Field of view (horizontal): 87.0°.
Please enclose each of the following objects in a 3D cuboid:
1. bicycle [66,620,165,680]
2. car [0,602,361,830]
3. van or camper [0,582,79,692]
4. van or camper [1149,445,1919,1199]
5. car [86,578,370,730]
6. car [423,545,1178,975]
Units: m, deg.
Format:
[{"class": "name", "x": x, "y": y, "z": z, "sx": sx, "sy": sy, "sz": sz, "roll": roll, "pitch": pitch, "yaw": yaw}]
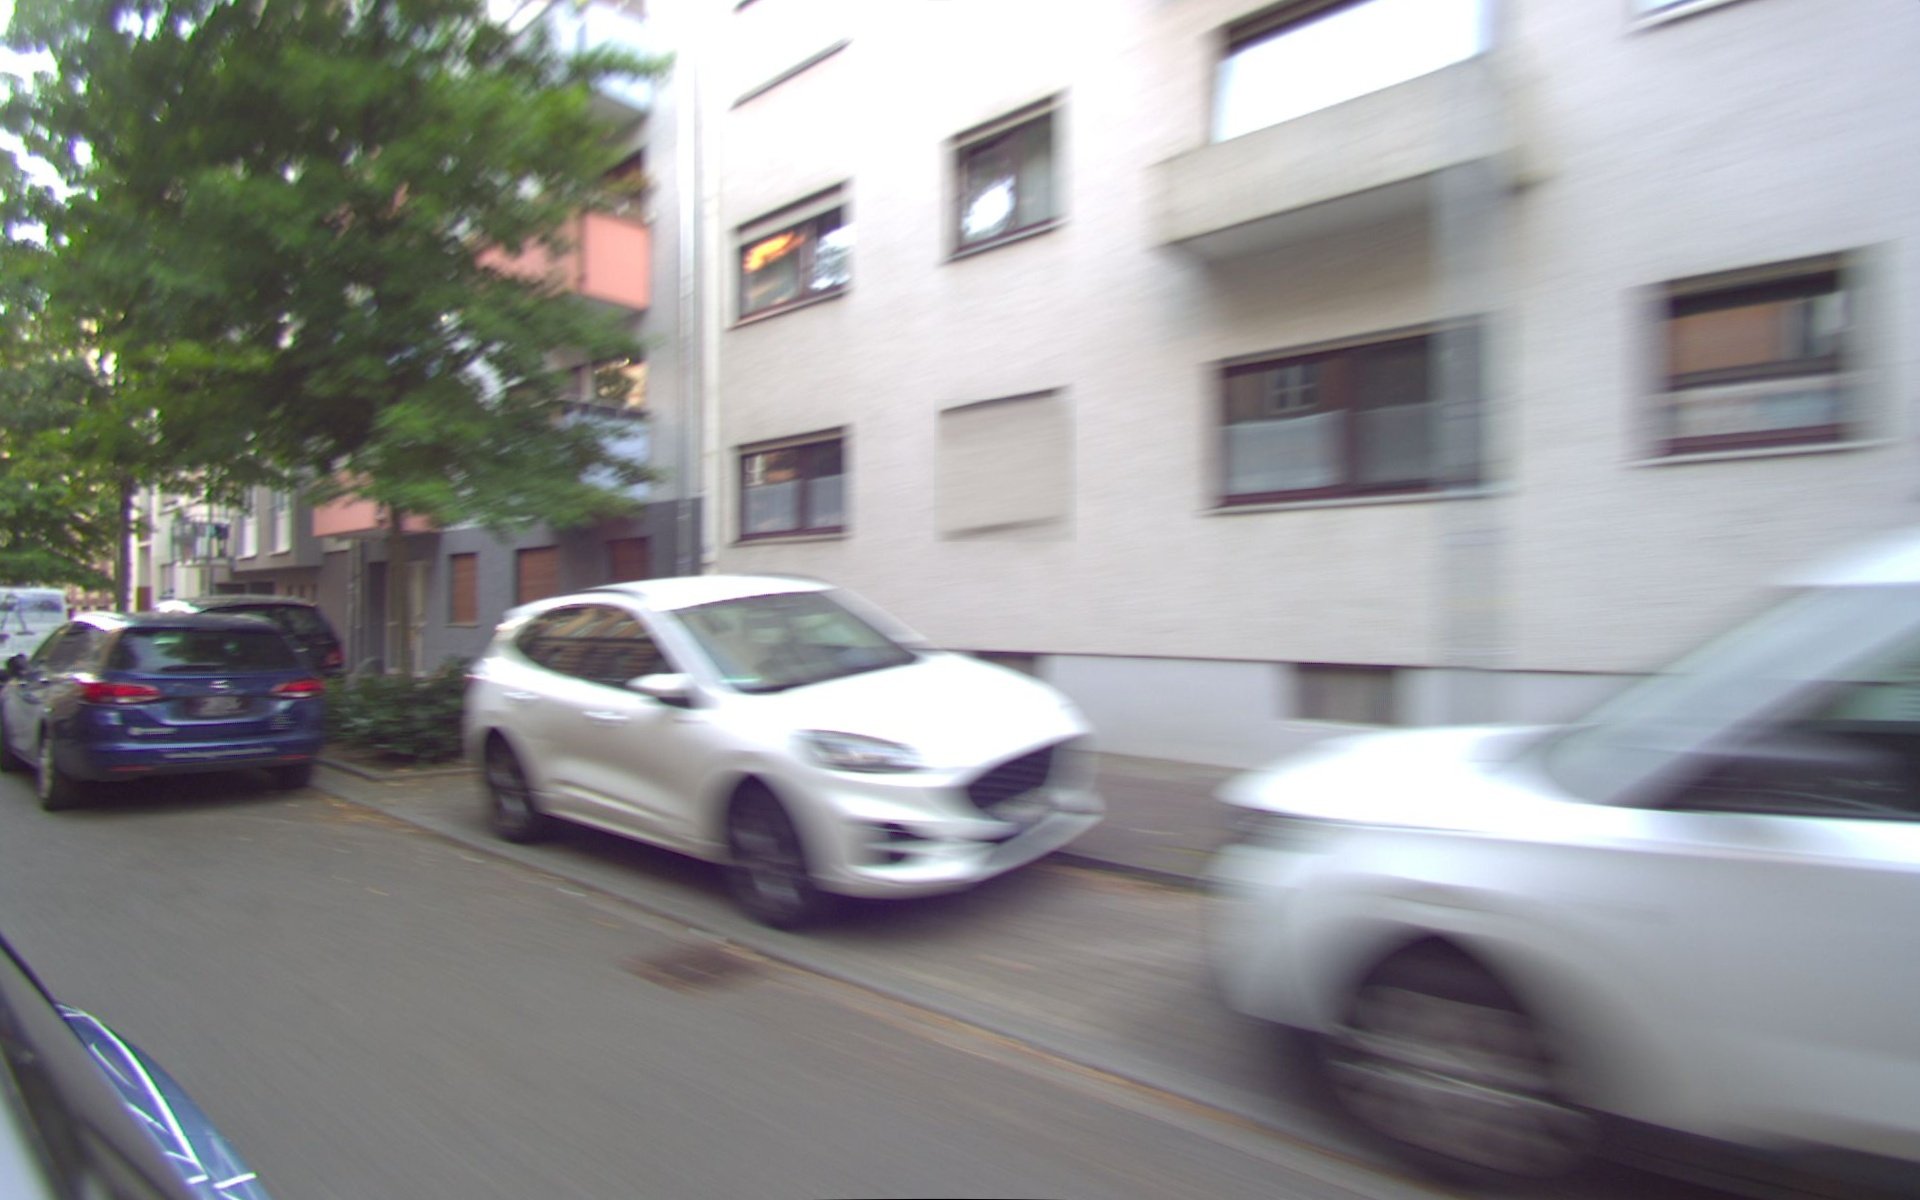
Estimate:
[{"class": "bicycle", "x": -17.397, "y": 1.003, "z": 20.898, "sx": 0.688, "sy": 1.172, "sz": 1.826, "roll": 0, "pitch": -1, "yaw": -7}, {"class": "car", "x": -7.136, "y": 0.784, "z": 8.944, "sx": 4.513, "sy": 1.528, "sz": 1.811, "roll": 0, "pitch": 0, "yaw": 40}, {"class": "van or camper", "x": -17.990, "y": 0.651, "z": 18.667, "sx": 4.748, "sy": 1.857, "sz": 1.858, "roll": -1, "pitch": -1, "yaw": 39}, {"class": "van or camper", "x": 2.911, "y": 0.531, "z": 2.366, "sx": 4.461, "sy": 1.773, "sz": 1.912, "roll": -1, "pitch": 2, "yaw": 40}, {"class": "car", "x": -9.894, "y": 0.592, "z": 13.510, "sx": 4.919, "sy": 1.659, "sz": 1.973, "roll": -1, "pitch": 1, "yaw": 41}, {"class": "car", "x": -1.246, "y": 0.619, "z": 6.258, "sx": 4.644, "sy": 1.685, "sz": 2.014, "roll": -1, "pitch": 2, "yaw": 40}]
